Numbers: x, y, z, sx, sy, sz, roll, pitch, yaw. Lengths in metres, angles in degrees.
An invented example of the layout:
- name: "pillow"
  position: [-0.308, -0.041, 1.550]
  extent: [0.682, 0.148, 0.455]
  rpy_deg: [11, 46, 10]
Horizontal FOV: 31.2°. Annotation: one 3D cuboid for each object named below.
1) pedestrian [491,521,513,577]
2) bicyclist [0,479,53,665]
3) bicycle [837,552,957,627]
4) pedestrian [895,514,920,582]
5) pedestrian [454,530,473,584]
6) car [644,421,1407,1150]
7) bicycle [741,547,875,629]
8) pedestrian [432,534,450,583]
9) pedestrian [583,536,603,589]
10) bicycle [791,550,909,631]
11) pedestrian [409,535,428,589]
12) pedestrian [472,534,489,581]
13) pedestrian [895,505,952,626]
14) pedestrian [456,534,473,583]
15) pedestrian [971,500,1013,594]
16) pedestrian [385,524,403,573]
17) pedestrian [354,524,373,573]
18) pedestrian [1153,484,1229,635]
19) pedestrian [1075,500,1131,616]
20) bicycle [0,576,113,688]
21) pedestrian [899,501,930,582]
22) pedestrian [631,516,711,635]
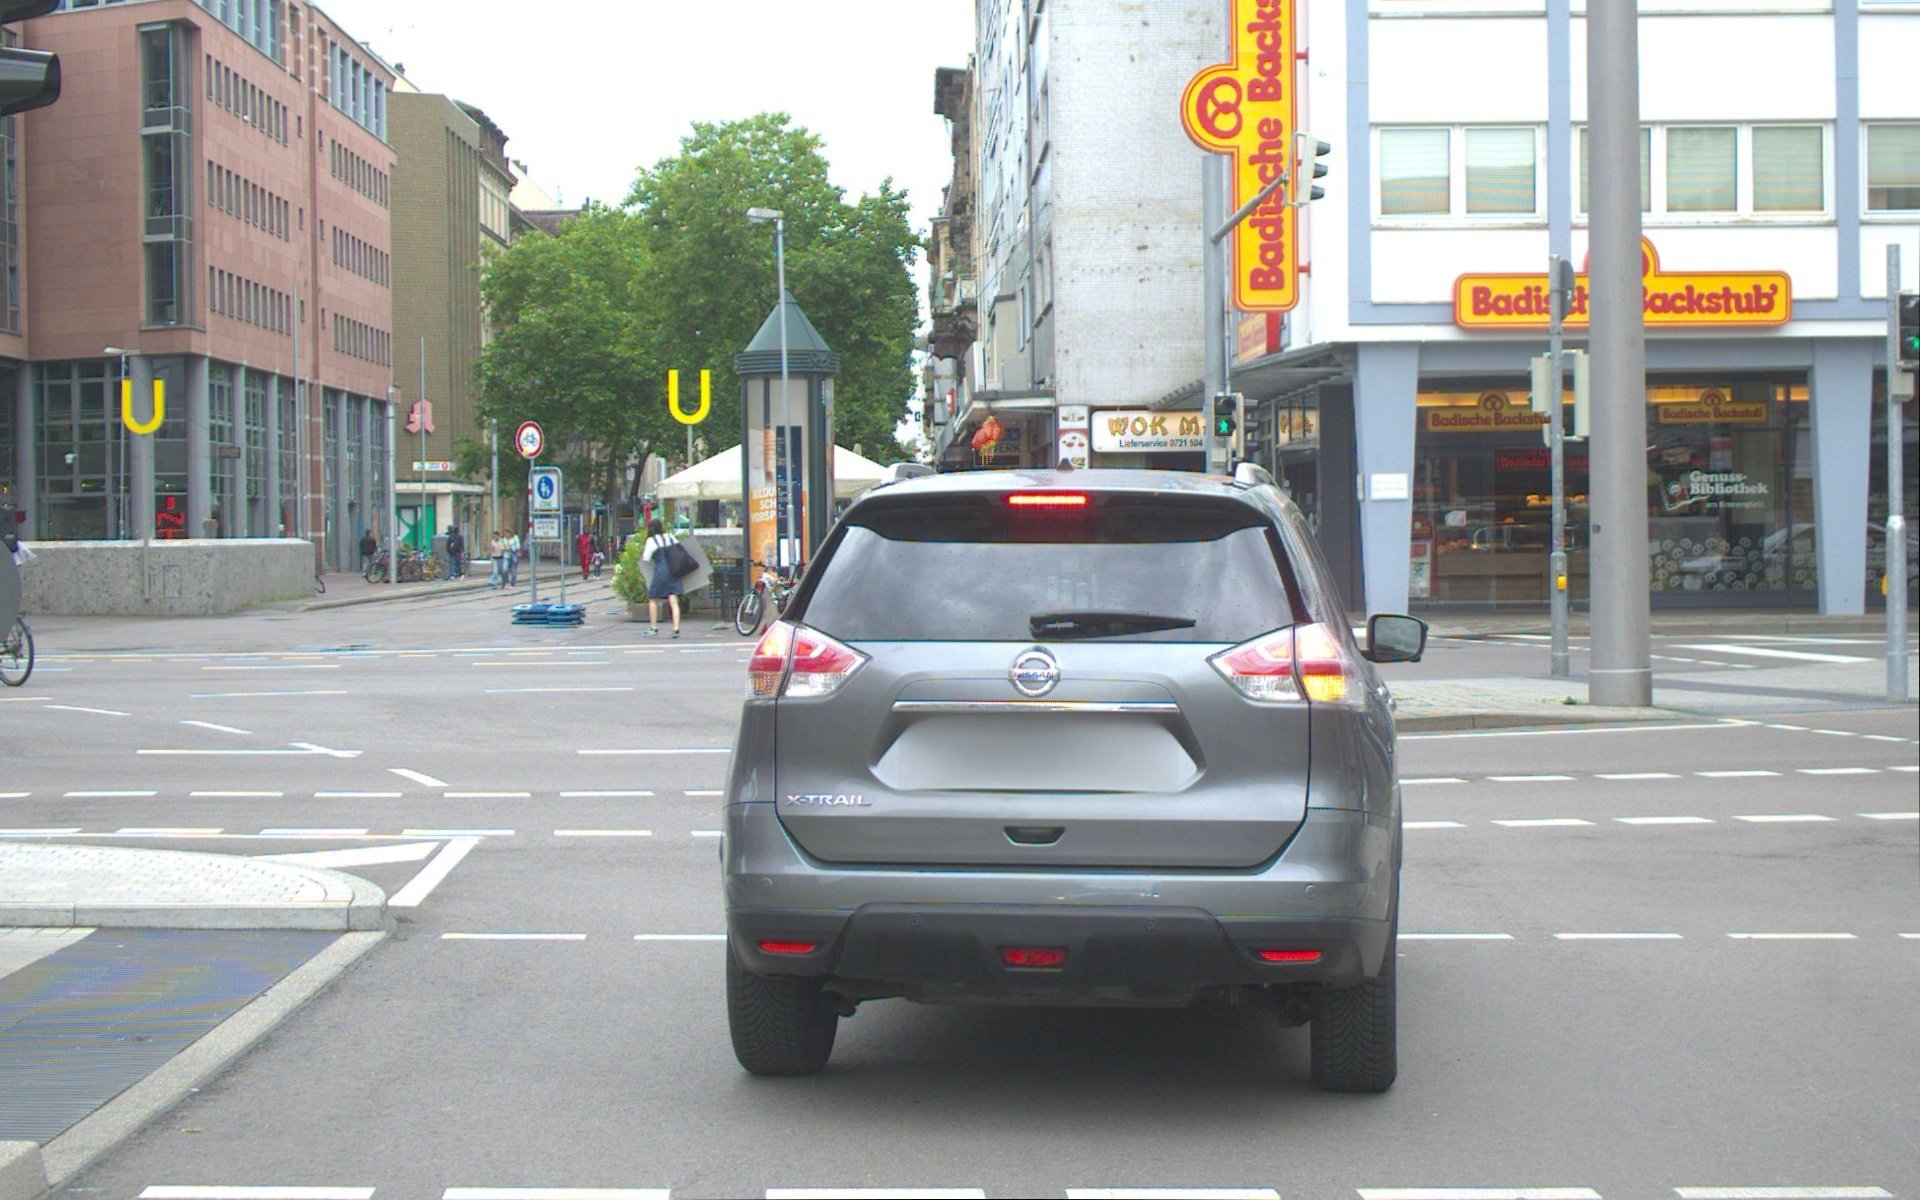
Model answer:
- name: "pedestrian"
  position: [-12.579, -1.394, 94.359]
  extent: [0.600, 1.531, 0.656]
  rpy_deg: [0, 1, -8]
- name: "bicyclist"
  position: [-9.523, -0.279, 33.759]
  extent: [0.877, 1.806, 0.835]
  rpy_deg: [1, 1, 40]
- name: "bicycle"
  position: [-0.918, -0.155, 49.975]
  extent: [1.696, 1.062, 0.437]
  rpy_deg: [0, 1, 6]
- name: "pedestrian"
  position: [-1.333, -1.310, 86.864]
  extent: [0.611, 1.699, 0.619]
  rpy_deg: [0, 1, 0]
- name: "pedestrian"
  position: [-15.828, -1.378, 109.660]
  extent: [0.600, 1.708, 0.656]
  rpy_deg: [0, 1, -8]
- name: "car"
  position: [0.442, 0.426, 10.721]
  extent: [1.864, 1.769, 4.565]
  rpy_deg: [-1, 1, 8]
- name: "bicycle"
  position: [-2.200, -0.179, 49.738]
  extent: [1.866, 1.167, 0.531]
  rpy_deg: [0, 1, -15]
- name: "pedestrian"
  position: [-17.948, -1.437, 118.813]
  extent: [0.600, 1.708, 0.656]
  rpy_deg: [0, 1, -8]
- name: "pedestrian"
  position: [-11.884, -1.204, 111.283]
  extent: [0.600, 1.708, 0.656]
  rpy_deg: [0, 1, -8]
- name: "bicycle"
  position: [-1.622, -0.142, 50.607]
  extent: [1.695, 1.168, 0.437]
  rpy_deg: [0, 1, -7]
- name: "pedestrian"
  position: [-17.406, -1.221, 110.554]
  extent: [0.600, 1.708, 0.656]
  rpy_deg: [0, 1, -8]
- name: "pedestrian"
  position: [-17.361, -1.540, 124.584]
  extent: [0.600, 1.708, 0.656]
  rpy_deg: [0, 1, -8]
- name: "pedestrian"
  position: [-0.526, -0.499, 49.627]
  extent: [0.732, 1.739, 0.663]
  rpy_deg: [0, 1, -9]
- name: "pedestrian"
  position: [-17.437, -1.457, 120.972]
  extent: [0.600, 1.708, 0.656]
  rpy_deg: [0, 1, -8]
- name: "pedestrian"
  position: [0.621, -1.032, 66.879]
  extent: [0.737, 1.815, 0.662]
  rpy_deg: [-1, 1, -3]
- name: "pedestrian"
  position: [-19.690, -1.791, 119.647]
  extent: [0.600, 1.708, 0.656]
  rpy_deg: [0, 1, -8]
- name: "pedestrian"
  position: [-20.723, -1.792, 119.440]
  extent: [0.600, 1.708, 0.656]
  rpy_deg: [0, 1, -8]
- name: "pedestrian"
  position: [2.820, -0.498, 41.961]
  extent: [0.712, 1.826, 1.017]
  rpy_deg: [0, 1, -8]
- name: "pedestrian"
  position: [2.109, -0.624, 50.589]
  extent: [0.710, 1.699, 0.734]
  rpy_deg: [1, 1, 11]
- name: "bicycle"
  position: [-9.674, 0.290, 33.885]
  extent: [3.275, 1.041, 0.902]
  rpy_deg: [1, 1, 43]
- name: "pedestrian"
  position: [-0.953, -1.235, 72.405]
  extent: [0.643, 1.699, 0.559]
  rpy_deg: [0, 1, 0]
- name: "pedestrian"
  position: [-4.167, -0.362, 49.540]
  extent: [0.926, 1.699, 0.734]
  rpy_deg: [1, 1, 19]
